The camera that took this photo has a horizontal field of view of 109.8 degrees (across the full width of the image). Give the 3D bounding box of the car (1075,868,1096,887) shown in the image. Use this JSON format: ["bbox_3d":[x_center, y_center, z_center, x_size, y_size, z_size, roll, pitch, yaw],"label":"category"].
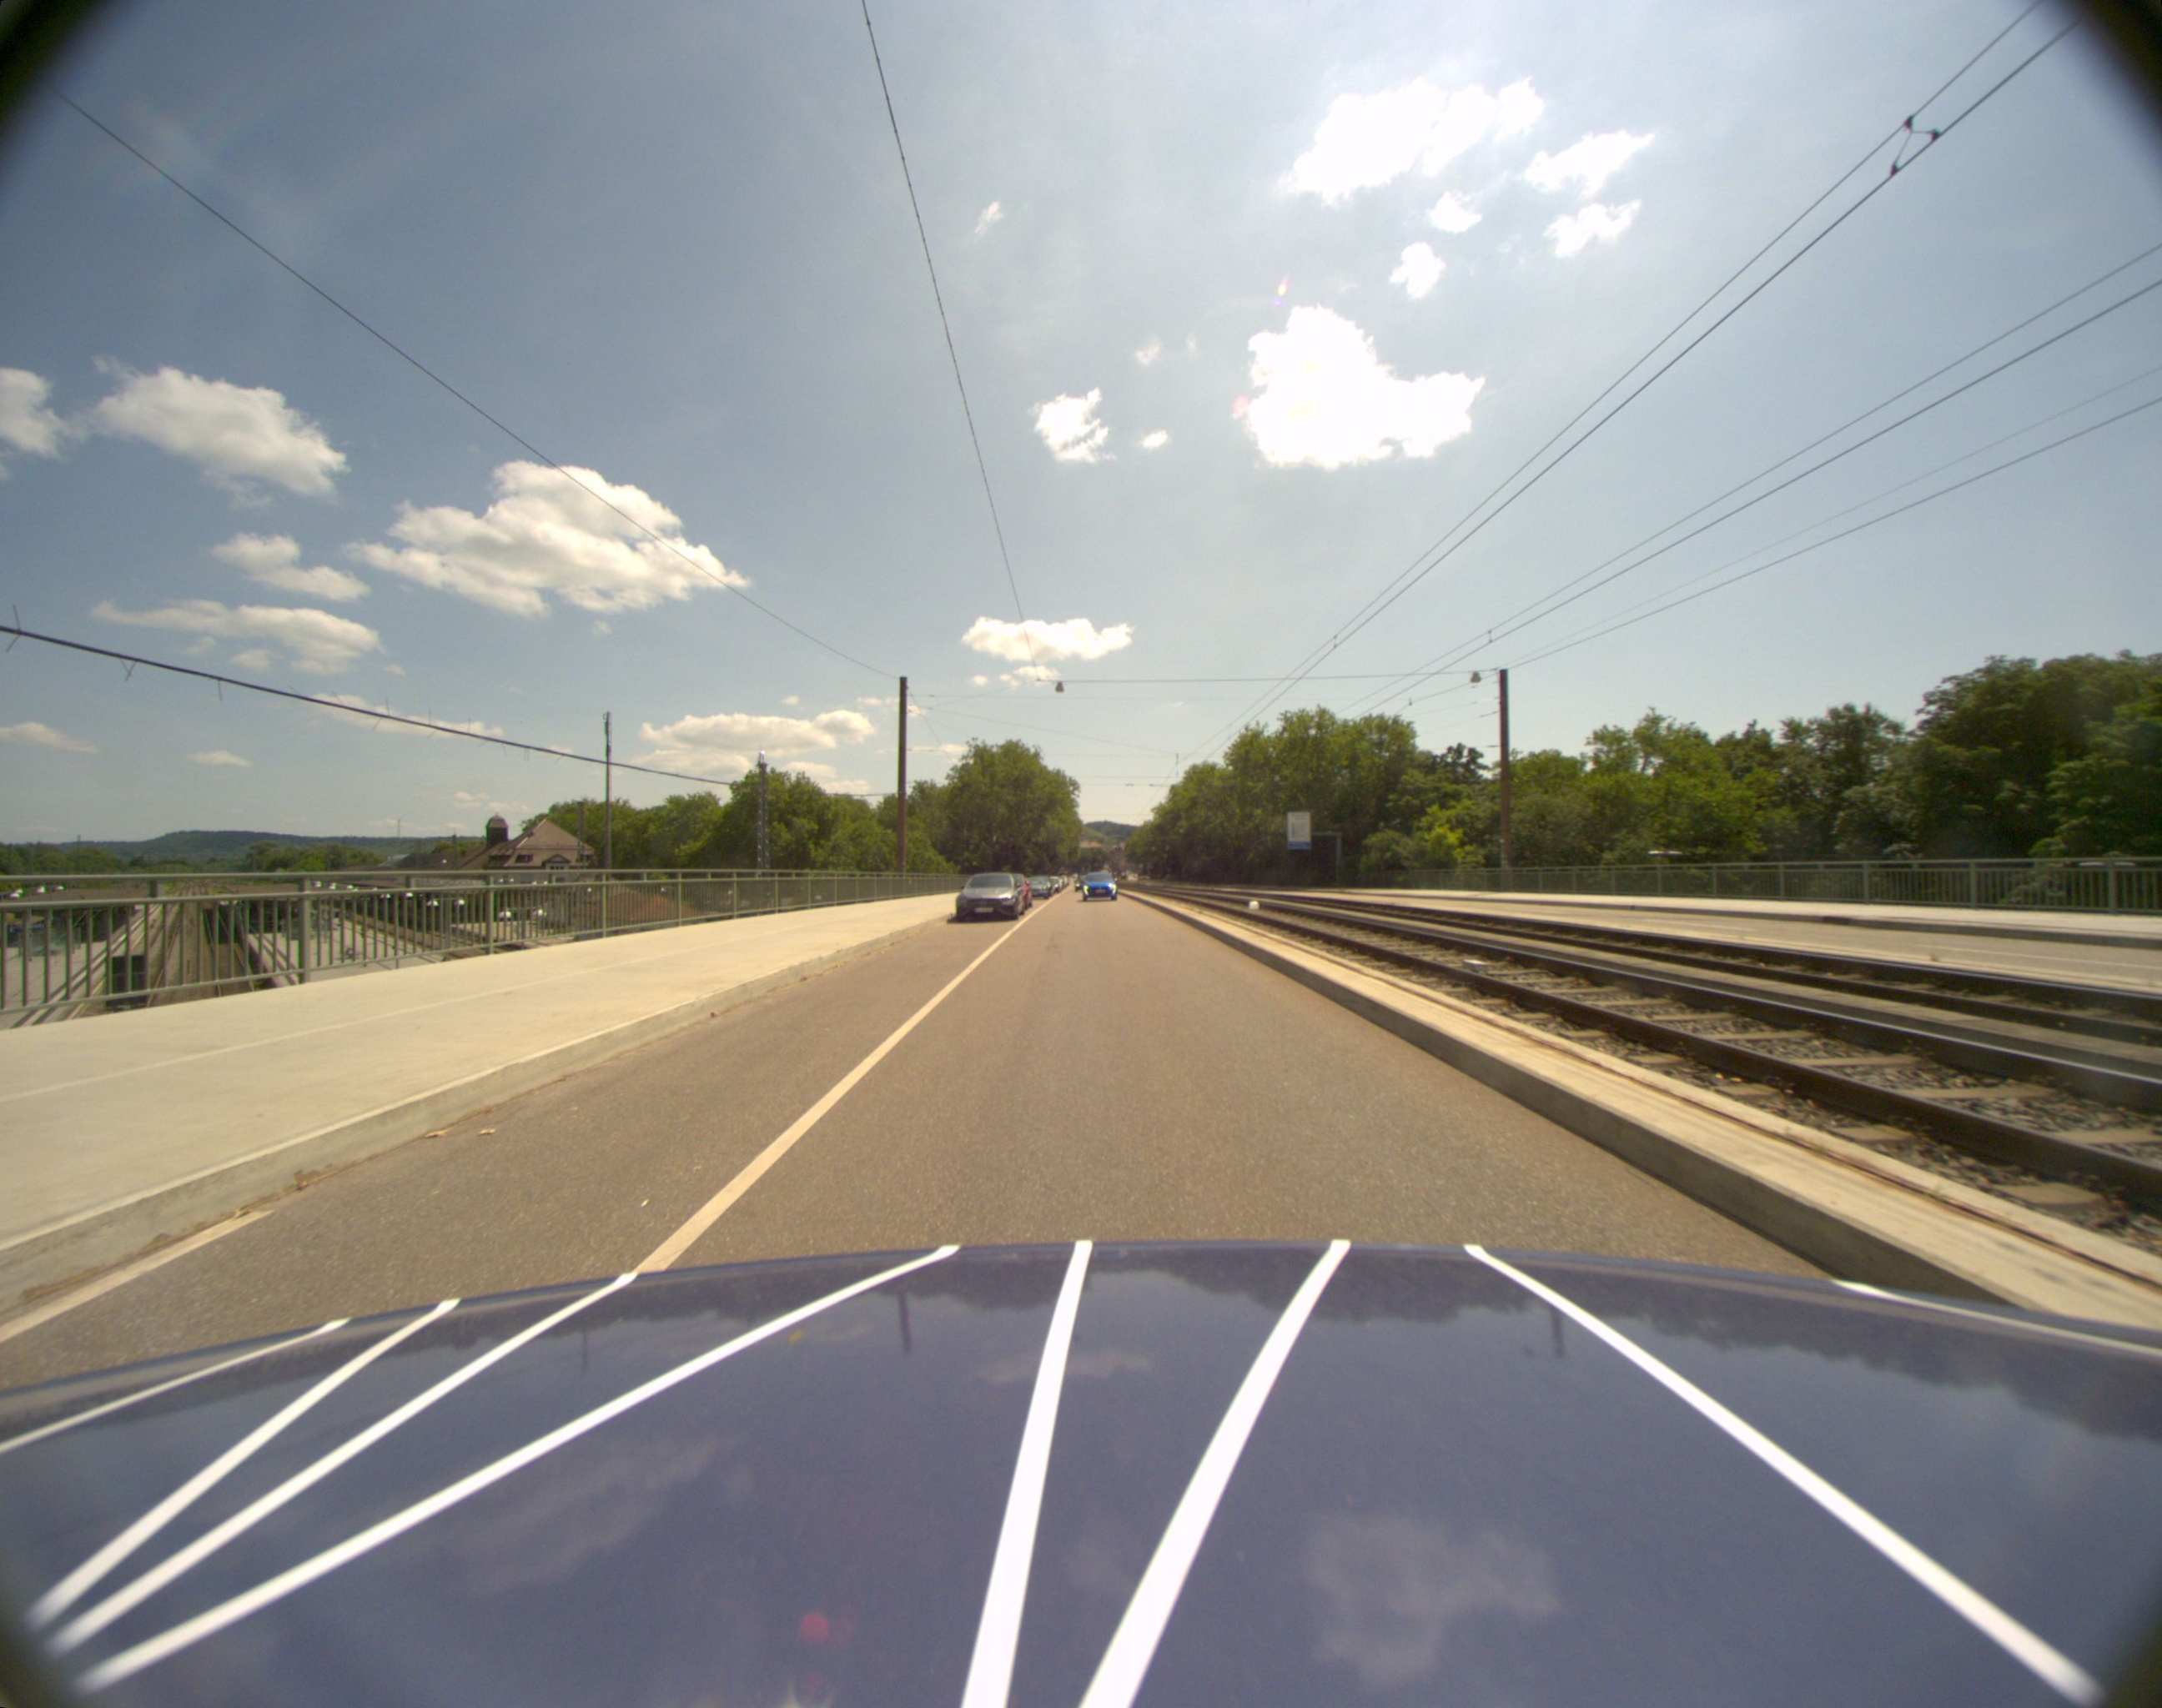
[{"bbox_3d":[0.442,2.278,73.493,1.797,1.725,3.769,-3,-2,3],"label":"car"}]

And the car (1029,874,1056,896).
[{"bbox_3d":[-2.648,2.142,53.221,1.639,1.444,4.389,-2,-2,0],"label":"car"}]

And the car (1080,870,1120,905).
[{"bbox_3d":[0.937,1.635,38.066,1.865,1.630,4.001,-2,-1,1],"label":"car"}]

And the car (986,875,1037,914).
[{"bbox_3d":[-2.779,1.601,31.167,1.651,1.451,4.286,-2,-2,0],"label":"car"}]

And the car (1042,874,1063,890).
[{"bbox_3d":[-2.557,2.482,68.739,1.759,1.381,3.700,-1,-2,0],"label":"car"}]

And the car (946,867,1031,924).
[{"bbox_3d":[-2.794,1.267,24.081,1.998,1.542,4.723,-2,-2,1],"label":"car"}]

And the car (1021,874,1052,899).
[{"bbox_3d":[-2.696,1.957,46.466,1.689,1.350,4.593,-2,-2,-2],"label":"car"}]
